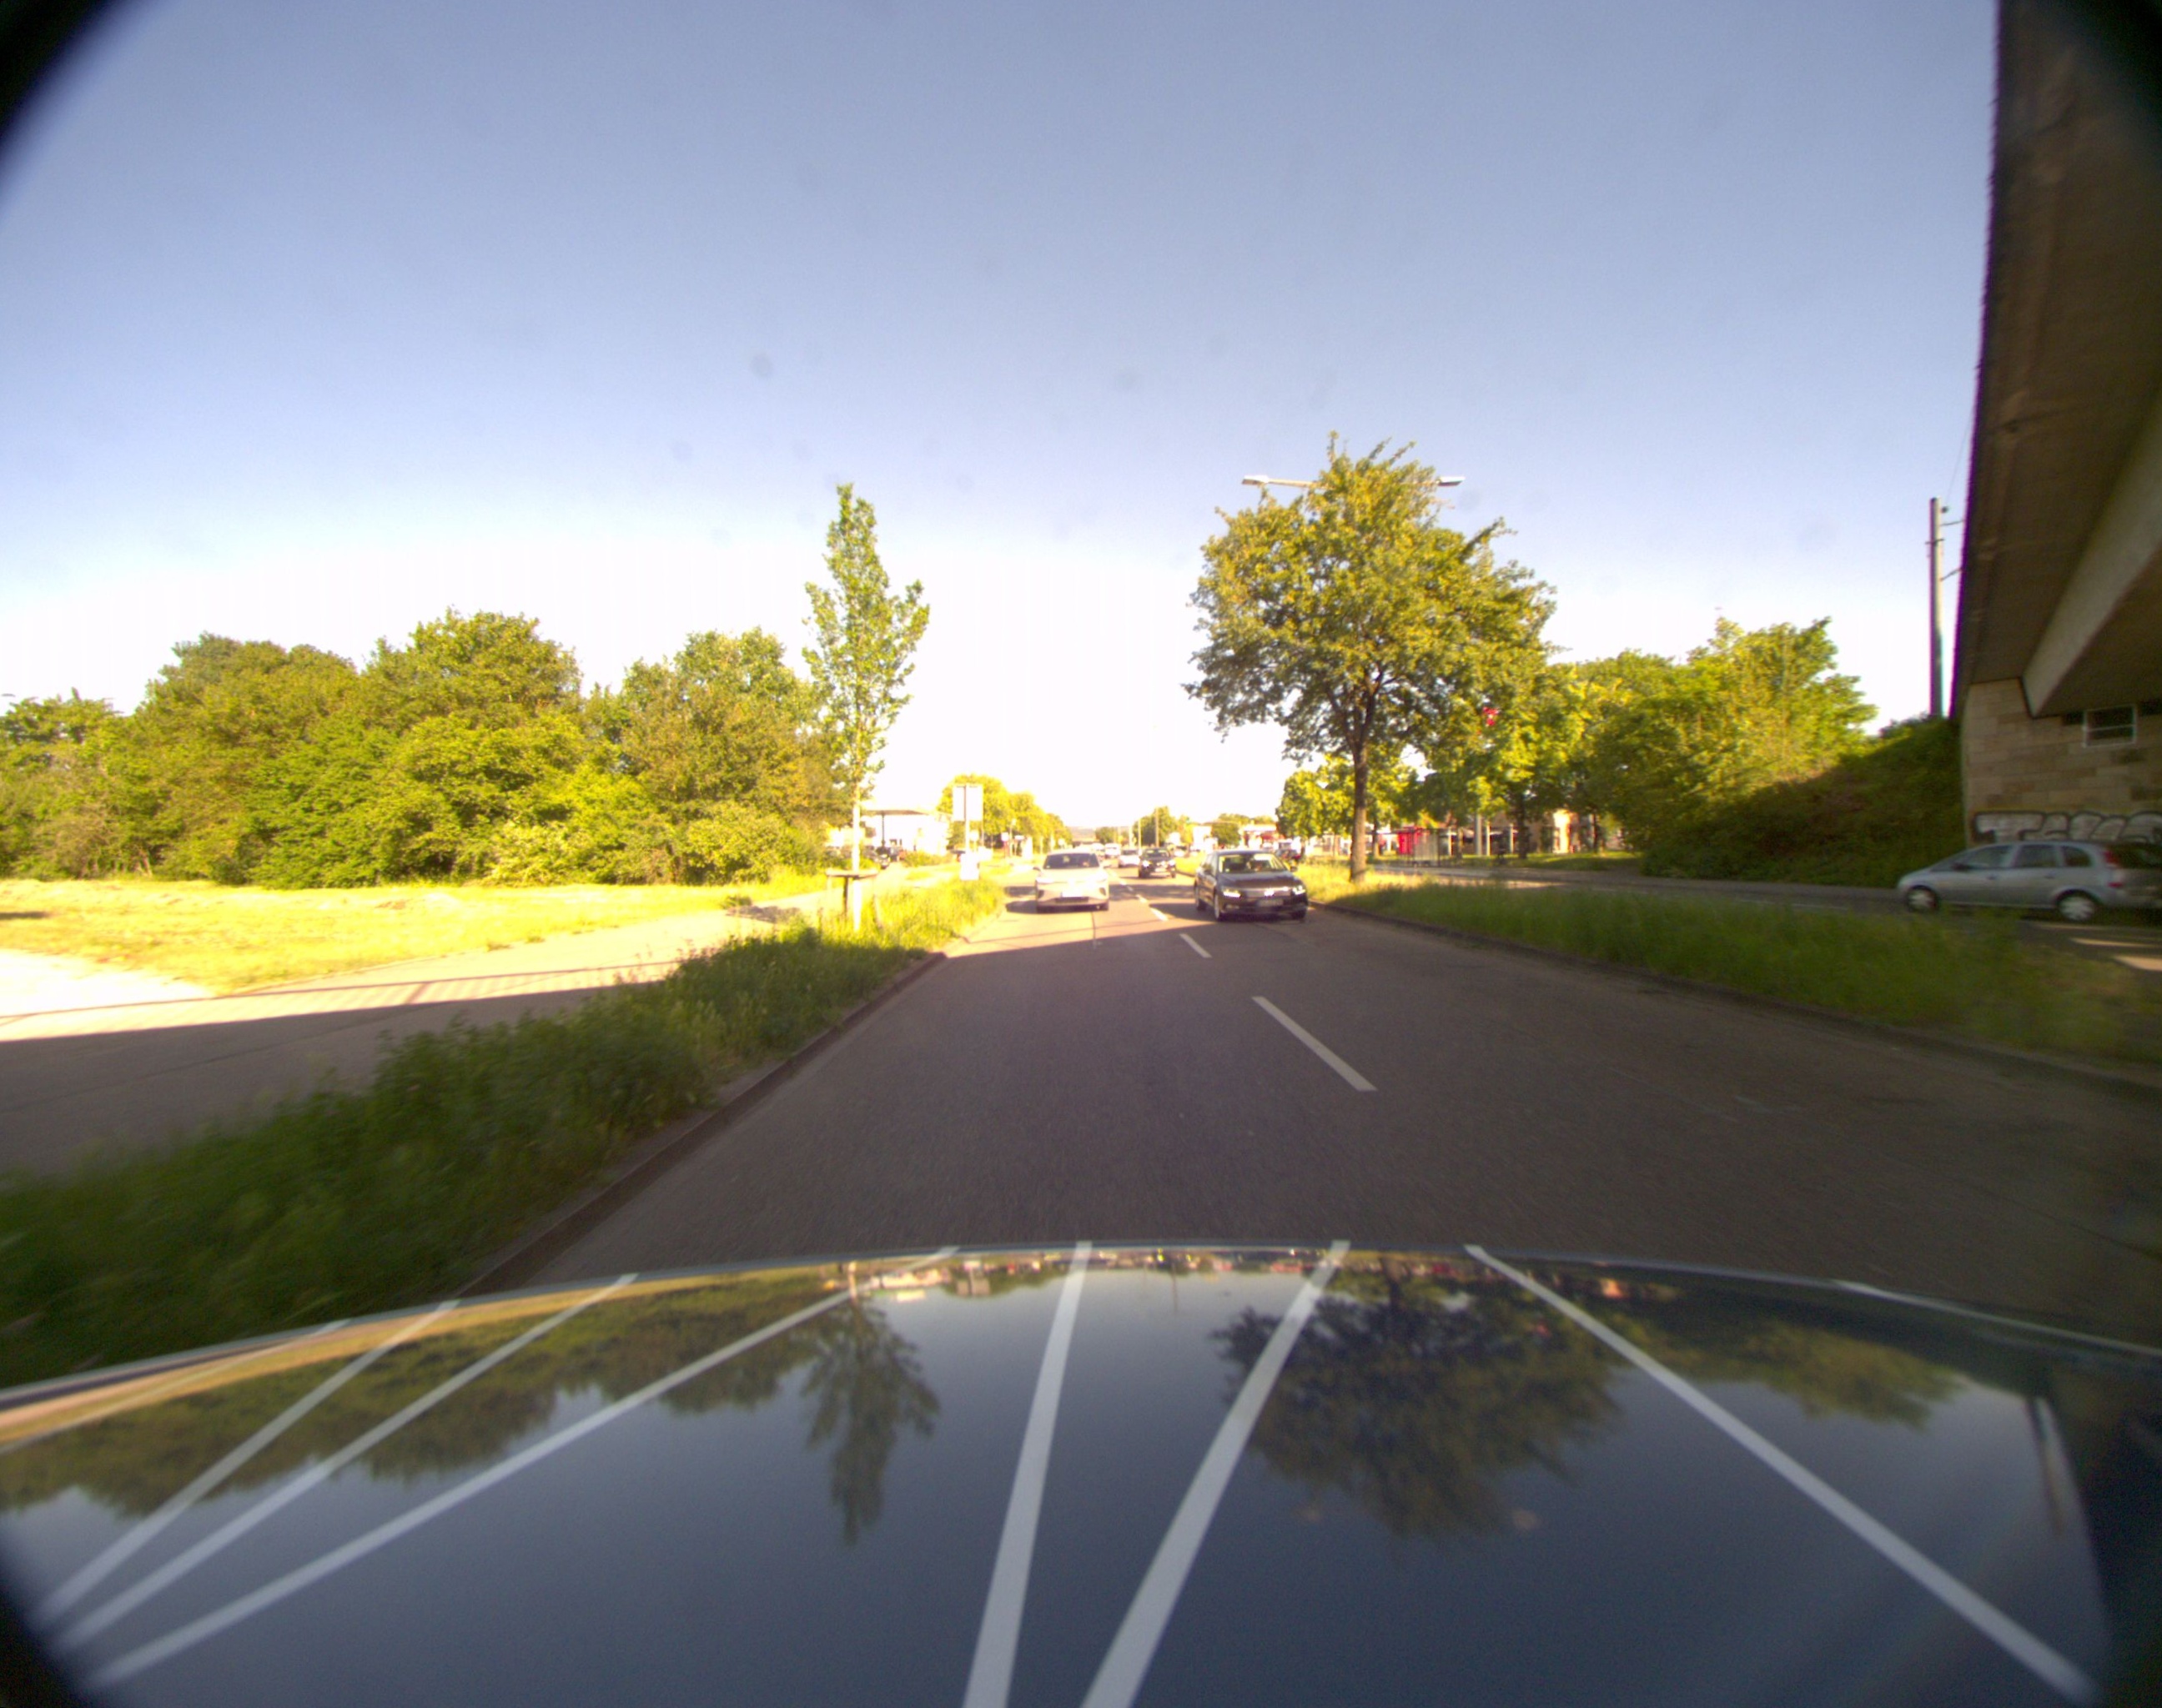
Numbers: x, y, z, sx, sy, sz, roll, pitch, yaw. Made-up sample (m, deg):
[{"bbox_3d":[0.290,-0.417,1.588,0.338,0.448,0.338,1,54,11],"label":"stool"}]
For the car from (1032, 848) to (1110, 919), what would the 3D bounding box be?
[{"bbox_3d":[-0.196,0.700,20.611,1.848,1.615,4.265,-2,1,1],"label":"car"}]

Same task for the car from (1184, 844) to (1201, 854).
[{"bbox_3d":[17.096,-0.724,116.609,1.822,1.427,4.629,1,1,0],"label":"car"}]

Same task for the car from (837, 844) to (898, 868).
[{"bbox_3d":[-16.376,0.131,58.254,4.547,1.631,1.805,2,2,30],"label":"car"}]

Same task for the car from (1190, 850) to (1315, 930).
[{"bbox_3d":[3.632,0.677,16.849,1.848,1.445,4.265,-2,1,1],"label":"car"}]

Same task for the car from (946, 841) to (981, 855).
[{"bbox_3d":[-15.175,-0.792,98.326,3.924,1.444,1.726,6,2,12],"label":"car"}]

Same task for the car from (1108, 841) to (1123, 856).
[{"bbox_3d":[5.138,-0.847,114.249,2.089,2.230,3.999,-3,1,1],"label":"car"}]

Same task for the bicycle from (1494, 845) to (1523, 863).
[{"bbox_3d":[24.753,-0.006,44.036,0.685,1.024,1.714,-3,1,0],"label":"bicycle"}]

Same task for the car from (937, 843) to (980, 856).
[{"bbox_3d":[-14.703,-0.529,91.165,1.895,1.522,4.846,3,1,44],"label":"car"}]

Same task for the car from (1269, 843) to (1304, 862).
[{"bbox_3d":[16.579,-0.157,61.471,1.821,1.434,4.089,-1,1,0],"label":"car"}]

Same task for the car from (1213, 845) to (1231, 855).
[{"bbox_3d":[20.958,-0.604,112.901,1.919,1.446,4.489,1,1,0],"label":"car"}]

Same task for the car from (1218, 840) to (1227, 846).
[{"bbox_3d":[38.918,-3.116,208.923,1.762,1.604,4.118,0,1,-1],"label":"car"}]

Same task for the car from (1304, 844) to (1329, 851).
[{"bbox_3d":[43.799,-1.210,141.246,4.116,1.424,1.901,0,1,1],"label":"car"}]

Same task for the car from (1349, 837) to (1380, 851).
[{"bbox_3d":[41.358,-1.451,110.969,1.850,1.840,3.820,-4,2,-39],"label":"car"}]

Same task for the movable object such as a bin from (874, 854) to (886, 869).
[{"bbox_3d":[-14.373,0.536,54.285,0.583,1.068,0.508,-3,1,-41],"label":"movable object such as a bin"}]

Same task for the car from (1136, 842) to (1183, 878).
[{"bbox_3d":[4.128,0.274,40.500,1.998,1.674,4.695,-3,1,1],"label":"car"}]

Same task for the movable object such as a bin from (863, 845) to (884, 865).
[{"bbox_3d":[-15.269,0.093,55.792,0.991,1.420,1.257,-3,1,-42],"label":"movable object such as a bin"}]

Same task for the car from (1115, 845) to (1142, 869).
[{"bbox_3d":[3.923,0.190,63.234,1.998,1.779,4.270,-3,1,1],"label":"car"}]

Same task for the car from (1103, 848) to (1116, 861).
[{"bbox_3d":[4.842,0.031,128.614,1.998,2.002,3.999,-3,1,1],"label":"car"}]

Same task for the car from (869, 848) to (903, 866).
[{"bbox_3d":[-17.187,0.255,67.228,1.748,1.564,4.248,0,1,2],"label":"car"}]

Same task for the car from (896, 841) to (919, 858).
[{"bbox_3d":[-21.225,-0.550,93.148,1.898,1.851,4.214,2,2,-2],"label":"car"}]

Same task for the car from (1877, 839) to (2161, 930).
[{"bbox_3d":[19.305,0.493,15.513,1.733,1.607,4.178,0,1,1],"label":"car"}]

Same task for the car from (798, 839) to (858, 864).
[{"bbox_3d":[-16.792,-0.155,50.482,3.292,1.477,1.771,-3,1,2],"label":"car"}]

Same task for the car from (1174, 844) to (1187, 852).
[{"bbox_3d":[17.661,-1.087,134.936,1.645,1.443,4.110,1,1,0],"label":"car"}]

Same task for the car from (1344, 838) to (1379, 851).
[{"bbox_3d":[39.248,-1.284,106.413,1.899,1.652,4.122,-4,2,-42],"label":"car"}]

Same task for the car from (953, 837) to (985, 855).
[{"bbox_3d":[-14.991,-1.104,101.488,3.986,2.002,1.690,7,2,33],"label":"car"}]
